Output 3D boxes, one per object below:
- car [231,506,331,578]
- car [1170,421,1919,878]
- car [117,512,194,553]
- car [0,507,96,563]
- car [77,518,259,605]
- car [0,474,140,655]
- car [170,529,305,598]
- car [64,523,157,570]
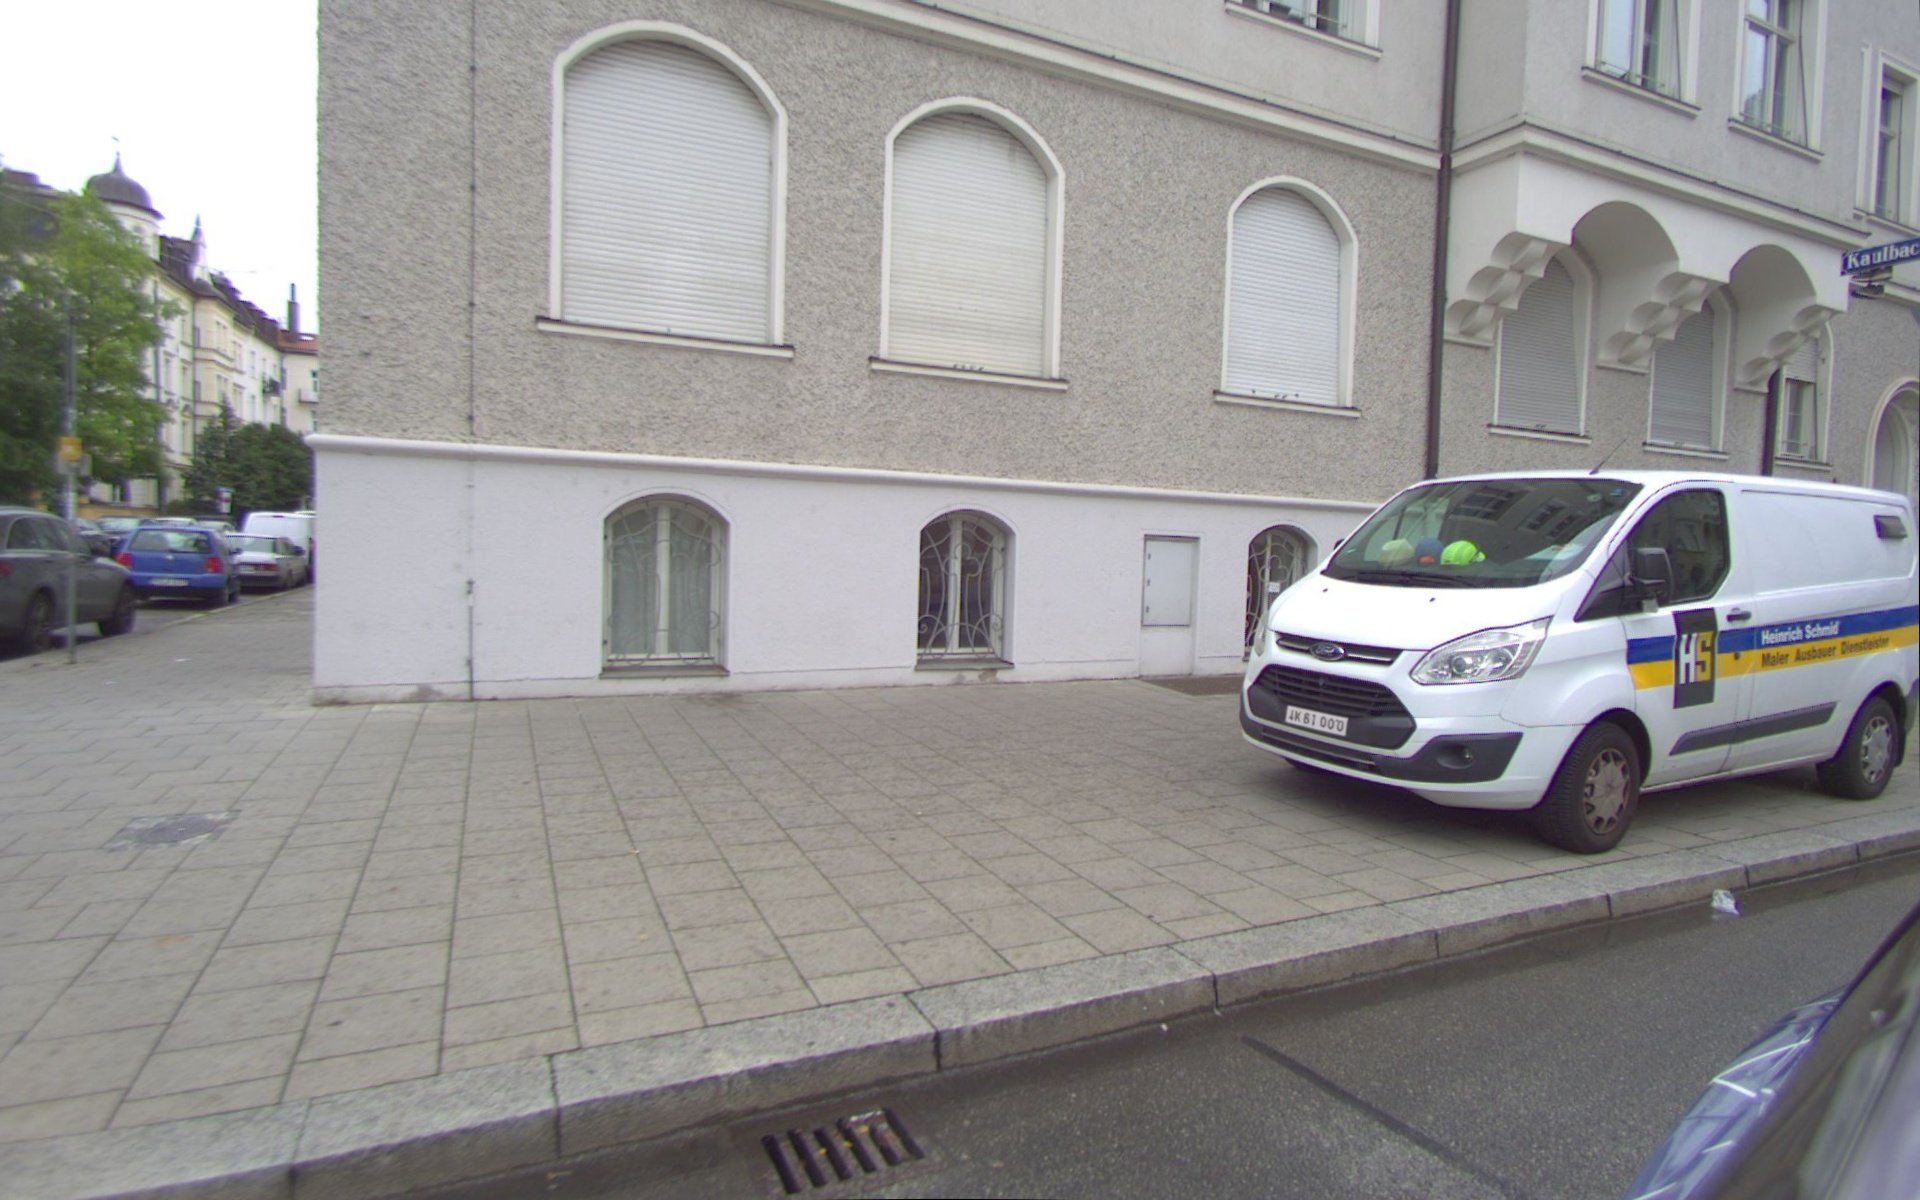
[{"bbox_3d":[-18.429,-1.593,27.621,1.761,1.804,3.848,0,4,-27],"label":"car"},{"bbox_3d":[4.071,0.133,6.356,5.264,1.944,1.949,0,4,-27],"label":"car"},{"bbox_3d":[-32.820,-2.752,41.361,1.759,1.565,3.312,0,3,-26],"label":"car"},{"bbox_3d":[-27.723,-1.954,30.481,1.759,1.565,3.312,0,3,-26],"label":"car"},{"bbox_3d":[-14.582,-0.775,18.906,1.854,1.421,4.260,0,4,-27],"label":"car"},{"bbox_3d":[-11.256,-0.486,11.696,1.854,1.817,4.260,0,4,-27],"label":"car"},{"bbox_3d":[-16.383,-0.886,23.153,1.854,1.421,4.260,0,4,-27],"label":"car"},{"bbox_3d":[-30.339,-1.938,36.229,1.759,1.565,3.312,0,3,-26],"label":"car"}]
